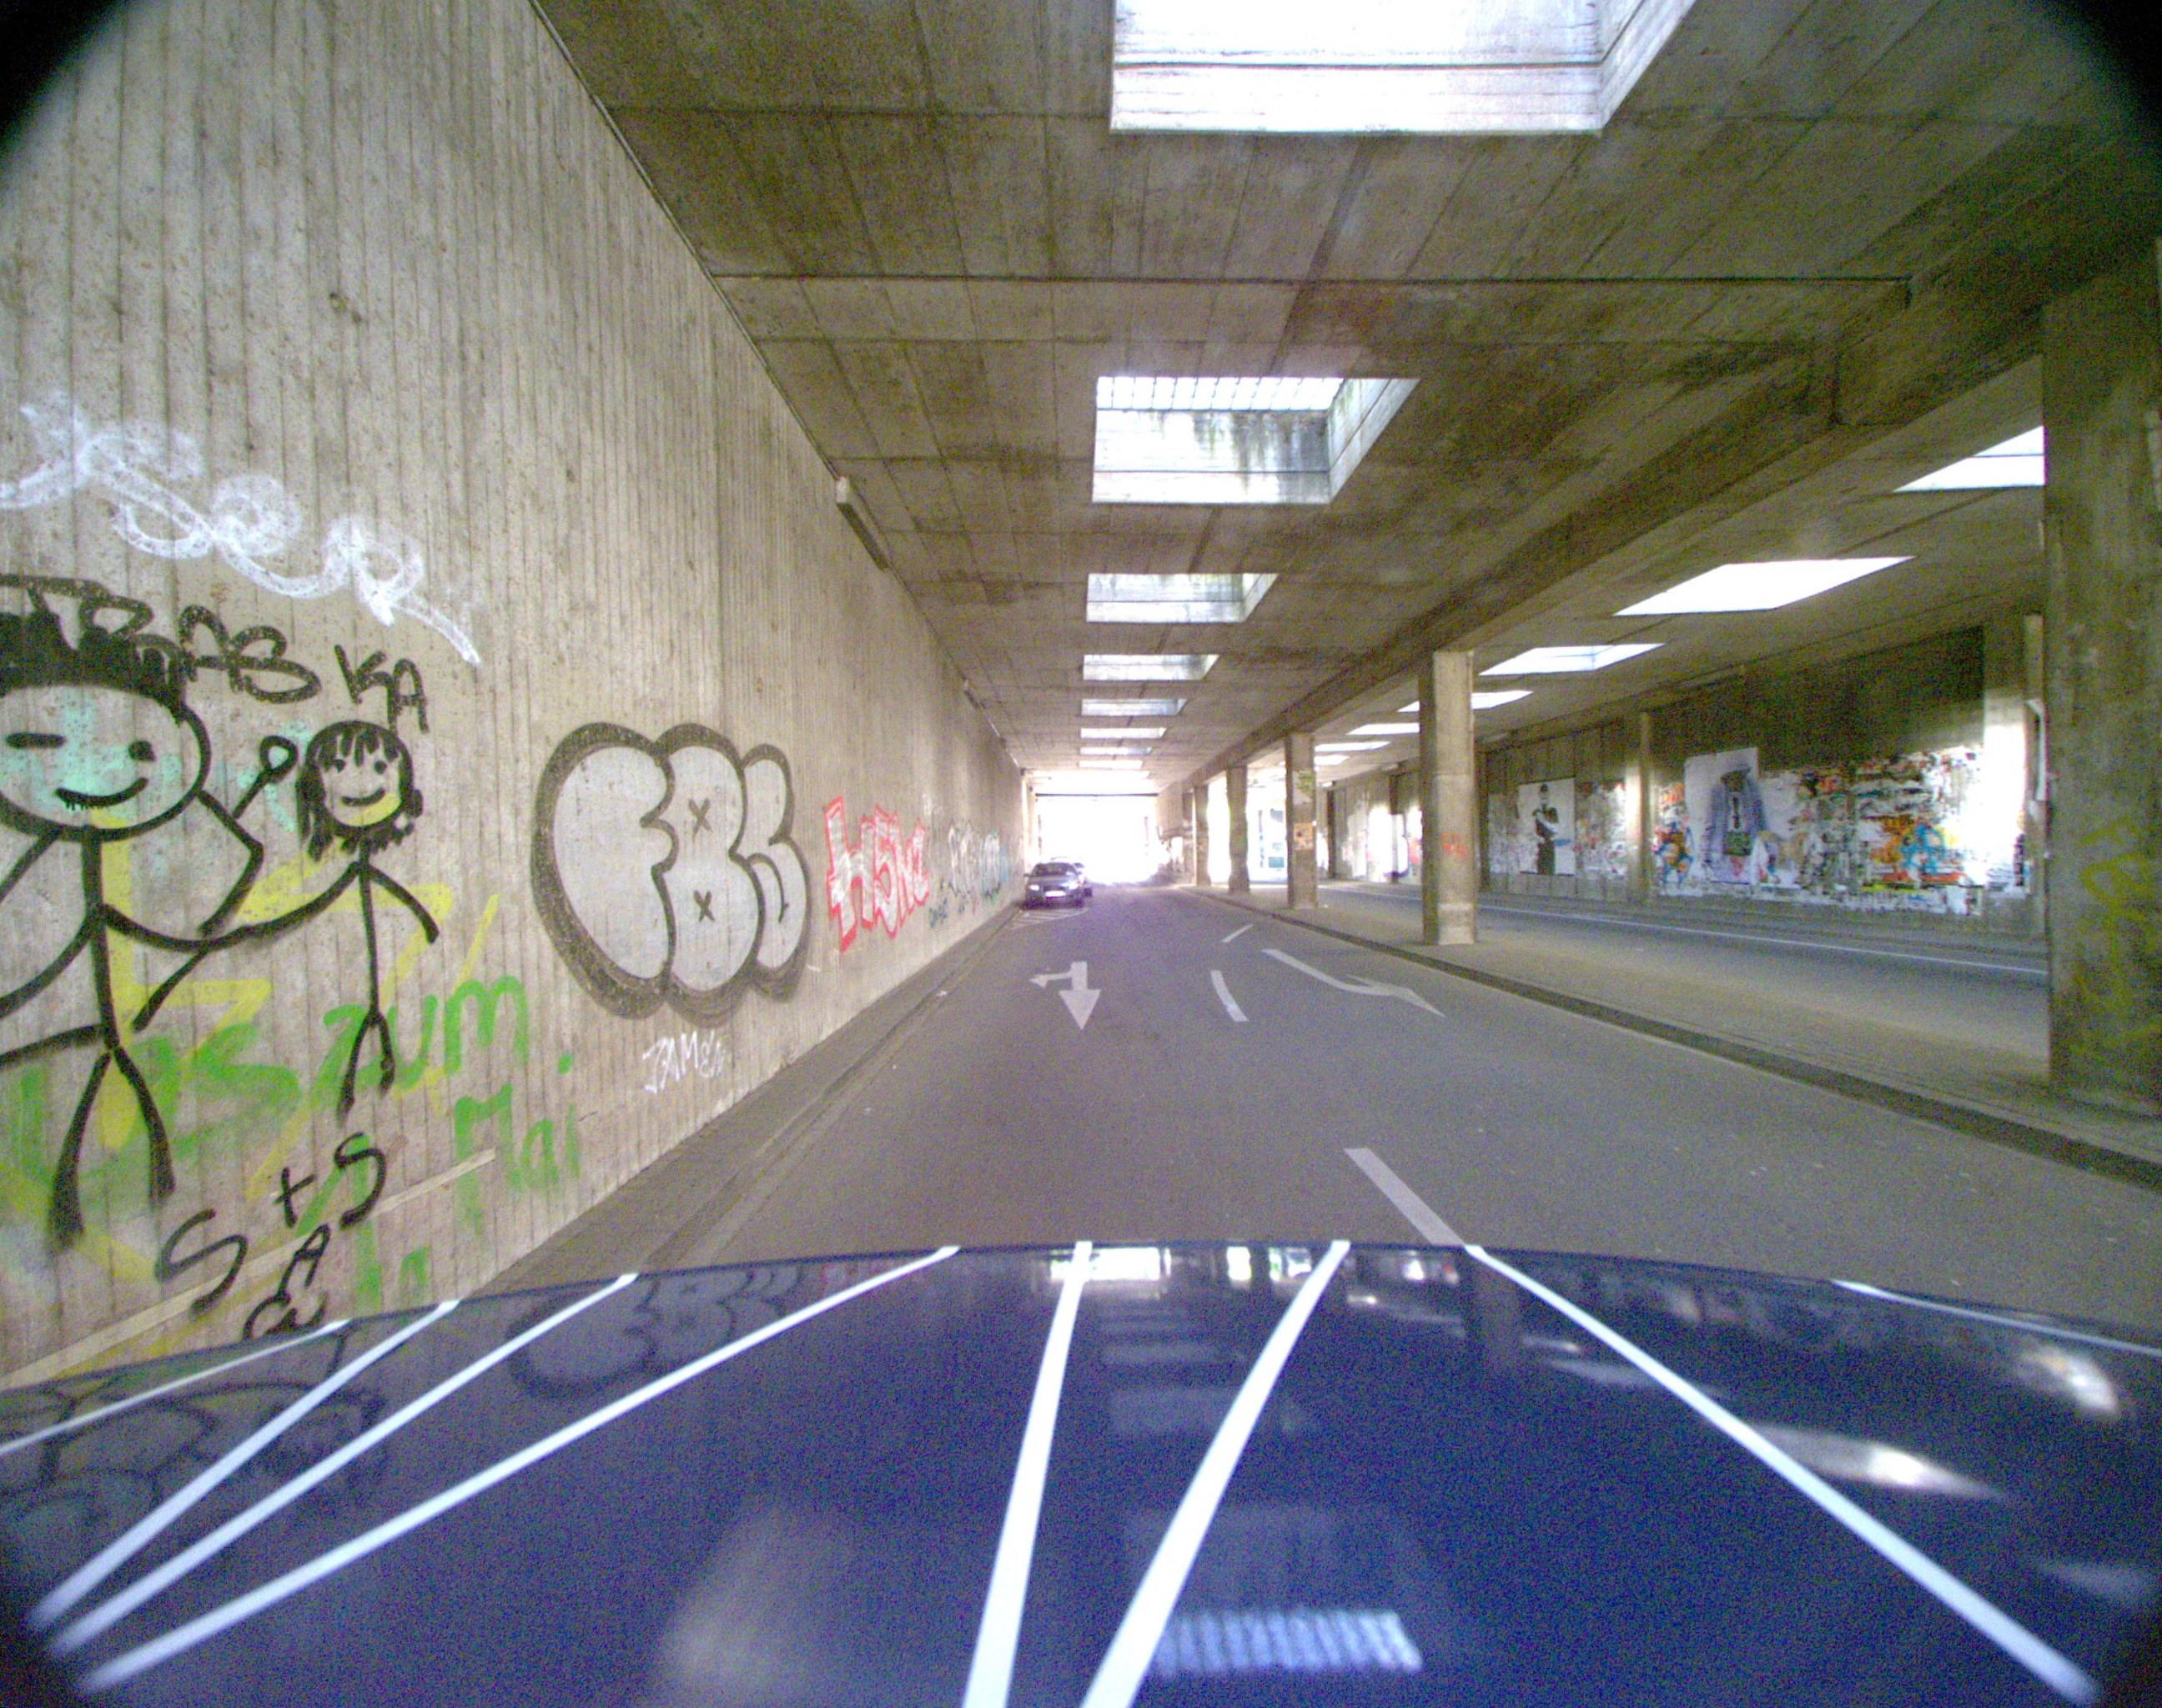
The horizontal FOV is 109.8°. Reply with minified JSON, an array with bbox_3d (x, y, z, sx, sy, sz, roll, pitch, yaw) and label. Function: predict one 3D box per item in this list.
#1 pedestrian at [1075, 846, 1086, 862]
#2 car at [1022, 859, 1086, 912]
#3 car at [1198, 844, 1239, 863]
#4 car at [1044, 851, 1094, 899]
[{"bbox_3d":[-0.115,-0.017,96.738,1.215,2.002,1.489,-2,1,-4],"label":"pedestrian"},{"bbox_3d":[-0.761,0.920,24.022,1.767,1.407,3.999,-2,1,1],"label":"car"},{"bbox_3d":[14.281,-0.072,79.035,3.995,1.740,2.001,-2,1,6],"label":"car"},{"bbox_3d":[-0.493,0.761,29.820,1.767,1.634,3.999,-2,1,-2],"label":"car"}]
